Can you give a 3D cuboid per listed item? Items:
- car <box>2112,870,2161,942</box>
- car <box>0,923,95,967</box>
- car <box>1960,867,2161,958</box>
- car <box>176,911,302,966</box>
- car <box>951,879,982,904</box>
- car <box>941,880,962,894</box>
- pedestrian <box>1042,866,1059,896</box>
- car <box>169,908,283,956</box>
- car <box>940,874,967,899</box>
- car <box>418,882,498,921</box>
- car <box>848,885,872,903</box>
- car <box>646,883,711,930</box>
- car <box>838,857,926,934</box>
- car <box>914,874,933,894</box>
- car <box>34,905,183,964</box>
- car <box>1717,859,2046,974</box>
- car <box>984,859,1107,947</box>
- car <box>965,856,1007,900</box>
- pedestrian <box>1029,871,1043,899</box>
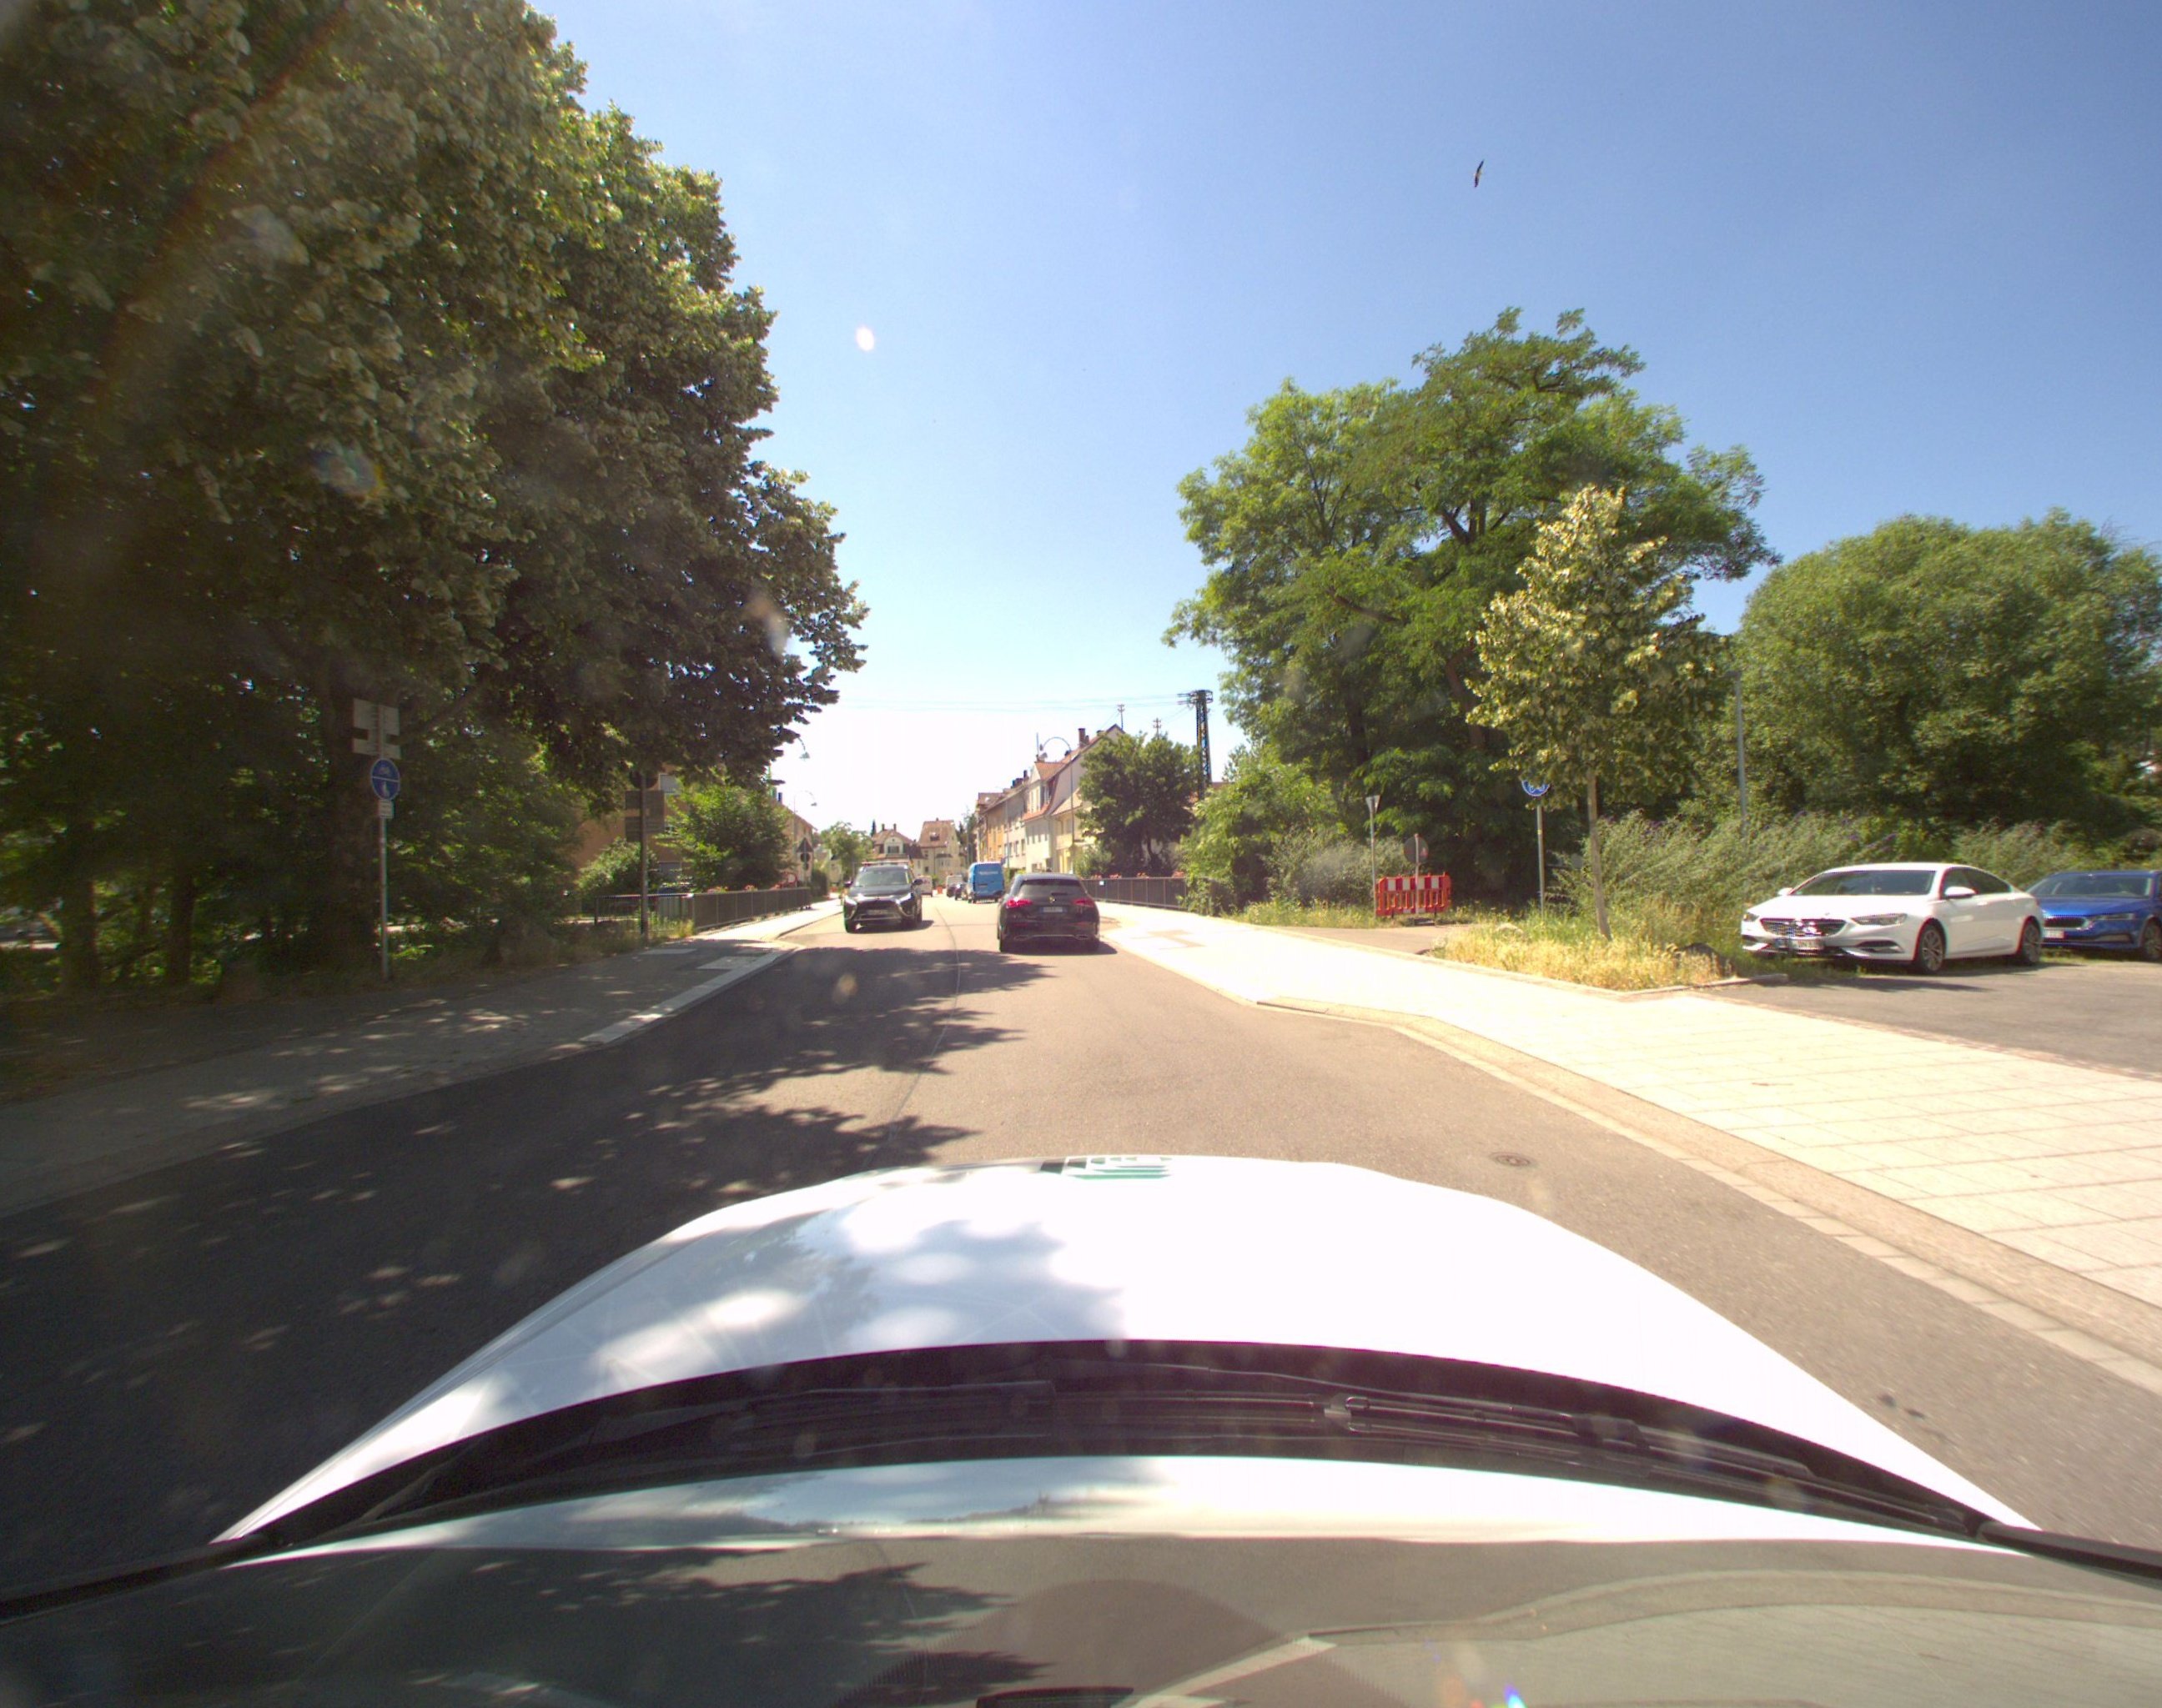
[{"bbox_3d":[23.785,1.030,16.881,4.381,1.436,1.888,0,-3,-24],"label":"car"},{"bbox_3d":[-50.265,4.367,39.401,2.007,1.684,3.960,-1,-1,-31],"label":"car"},{"bbox_3d":[17.337,0.927,13.781,4.203,1.350,1.847,0,-3,-21],"label":"car"},{"bbox_3d":[-36.229,3.585,35.206,1.997,2.014,3.979,-1,-2,-15],"label":"car"},{"bbox_3d":[-8.917,2.851,63.337,1.996,1.746,4.309,-1,-1,-13],"label":"car"},{"bbox_3d":[-14.574,3.643,91.383,1.996,1.392,4.309,-1,-1,-13],"label":"car"},{"bbox_3d":[-1.780,1.575,47.218,0.664,1.741,0.695,-1,-2,-30],"label":"pedestrian"},{"bbox_3d":[-41.894,3.784,40.031,1.996,2.014,3.981,-1,-1,-14],"label":"car"},{"bbox_3d":[-11.040,2.760,70.476,1.996,2.014,3.982,-1,-1,-13],"label":"car"},{"bbox_3d":[-34.900,2.630,45.764,1.994,2.014,3.985,-1,-1,-11],"label":"car"},{"bbox_3d":[-21.362,3.835,78.903,1.995,1.660,3.983,1,-2,-12],"label":"car"},{"bbox_3d":[-19.313,2.456,39.240,1.997,2.014,3.980,-1,-1,-14],"label":"car"},{"bbox_3d":[-5.267,1.047,22.065,1.739,1.772,4.326,-3,-1,-7],"label":"car"},{"bbox_3d":[-19.611,3.668,101.195,2.247,2.343,4.832,-1,-1,-12],"label":"car"},{"bbox_3d":[-39.904,3.237,33.589,1.997,2.014,3.980,-1,-1,-15],"label":"car"},{"bbox_3d":[11.177,0.805,11.365,4.208,1.350,1.845,0,-3,-25],"label":"car"},{"bbox_3d":[-0.838,0.976,15.978,1.828,1.442,3.984,-2,-4,-11],"label":"car"},{"bbox_3d":[-6.038,1.513,51.270,2.134,2.541,4.629,-1,-2,-12],"label":"car"},{"bbox_3d":[-2.654,1.810,47.991,0.615,1.613,0.833,-1,-2,-17],"label":"pedestrian"}]
